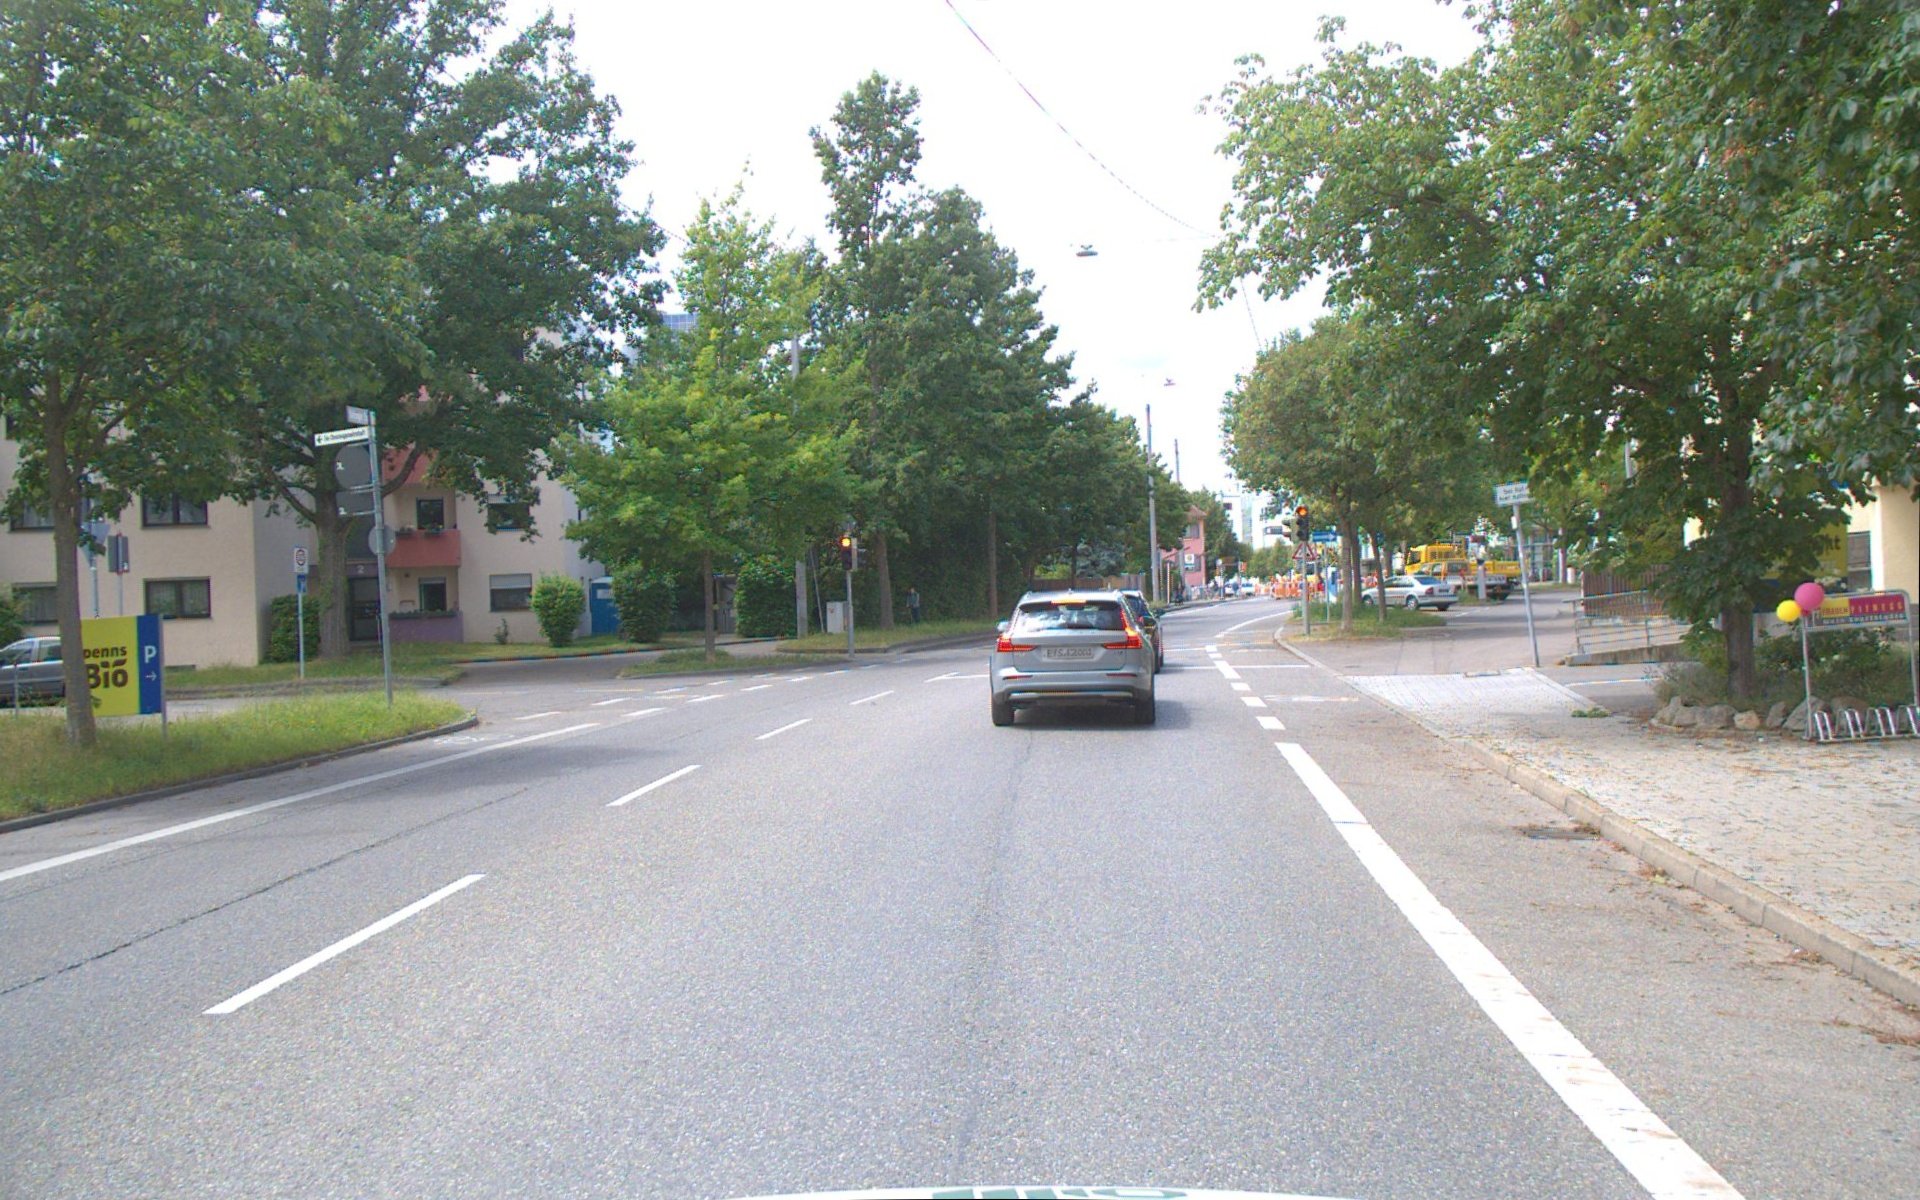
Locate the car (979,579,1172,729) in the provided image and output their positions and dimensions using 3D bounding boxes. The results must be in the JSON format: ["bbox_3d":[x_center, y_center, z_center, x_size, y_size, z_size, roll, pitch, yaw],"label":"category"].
[{"bbox_3d":[1.485,0.555,19.592,1.914,1.550,4.333,-1,0,8],"label":"car"}]

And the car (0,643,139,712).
[{"bbox_3d":[-20.655,1.747,36.673,3.999,1.424,1.792,-1,-4,-6],"label":"car"}]

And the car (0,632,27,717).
[{"bbox_3d":[-18.347,1.310,28.015,3.999,1.424,1.792,-1,-4,-6],"label":"car"}]

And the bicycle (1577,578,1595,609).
[{"bbox_3d":[22.029,-0.222,58.189,0.452,1.053,2.762,-2,-1,23],"label":"bicycle"}]

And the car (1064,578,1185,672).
[{"bbox_3d":[3.070,0.406,30.134,1.766,1.550,4.333,1,1,11],"label":"car"}]

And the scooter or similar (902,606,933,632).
[{"bbox_3d":[-1.648,0.724,64.017,0.944,0.978,0.683,-2,-1,-33],"label":"scooter or similar"}]

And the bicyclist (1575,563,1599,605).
[{"bbox_3d":[22.158,-0.561,58.451,0.762,1.424,0.702,-2,-1,23],"label":"bicyclist"}]

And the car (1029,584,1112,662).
[{"bbox_3d":[2.505,0.527,38.077,1.766,1.644,4.330,1,-1,3],"label":"car"}]

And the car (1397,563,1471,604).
[{"bbox_3d":[24.823,-0.842,86.547,3.723,2.049,1.722,0,-1,-35],"label":"car"}]

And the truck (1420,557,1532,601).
[{"bbox_3d":[25.393,-1.048,81.319,5.538,2.049,2.068,-1,-1,-30],"label":"truck"}]

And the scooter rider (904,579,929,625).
[{"bbox_3d":[-1.683,0.093,64.023,0.698,1.758,0.672,0,-1,-32],"label":"scooter rider"}]
